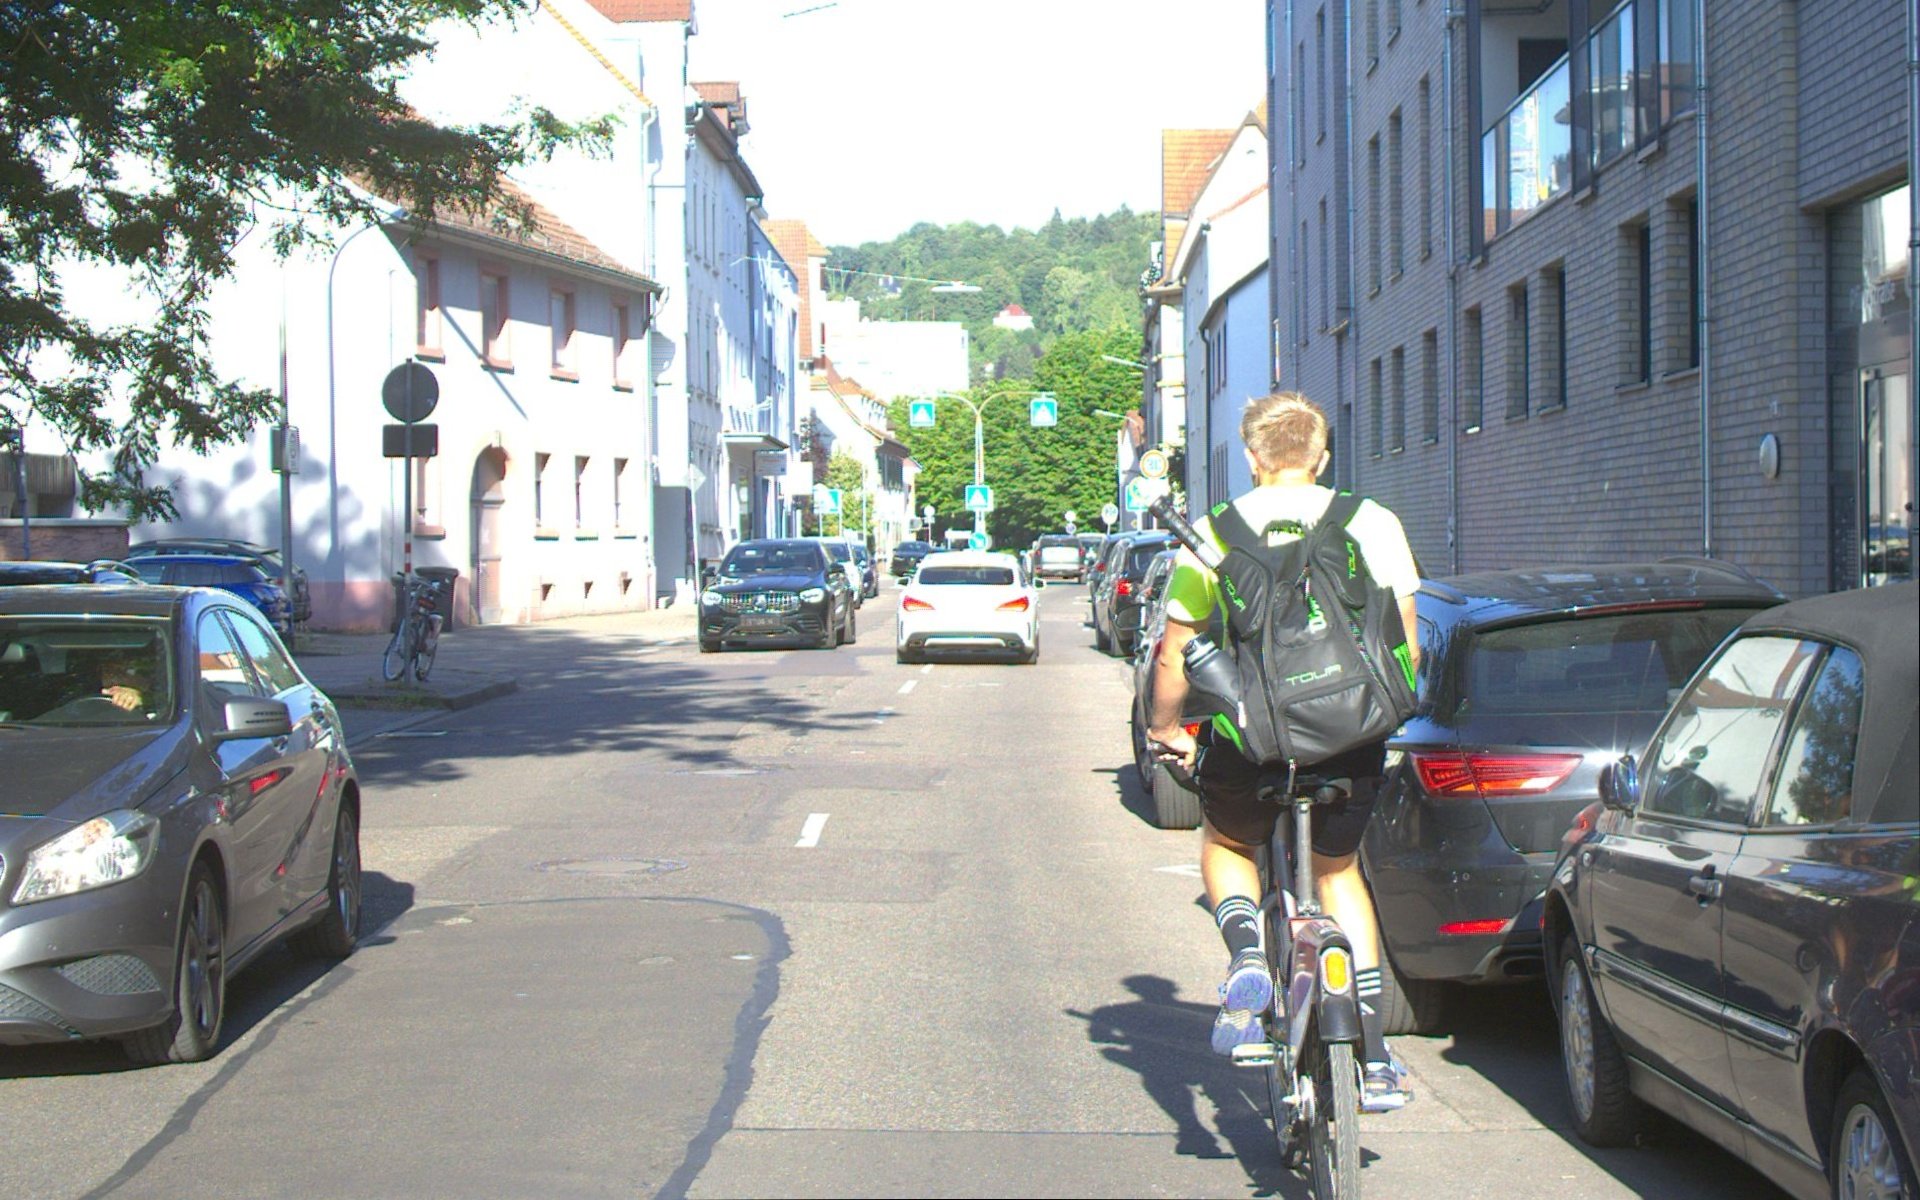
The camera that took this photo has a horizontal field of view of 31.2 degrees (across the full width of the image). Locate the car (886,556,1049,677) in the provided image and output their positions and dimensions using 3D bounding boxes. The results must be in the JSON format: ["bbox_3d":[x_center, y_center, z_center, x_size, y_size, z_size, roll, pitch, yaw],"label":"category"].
[{"bbox_3d":[0.061,0.182,44.417,1.993,1.461,4.000,-1,1,-1],"label":"car"}]

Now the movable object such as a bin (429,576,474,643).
[{"bbox_3d":[-8.357,0.152,56.486,0.598,1.090,0.751,1,1,2],"label":"movable object such as a bin"}]

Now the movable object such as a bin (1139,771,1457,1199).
[{"bbox_3d":[0.712,0.944,7.667,0.454,1.029,1.840,3,-1,-1],"label":"movable object such as a bin"}]

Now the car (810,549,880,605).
[{"bbox_3d":[-3.128,-0.625,94.269,1.731,1.494,3.959,-1,0,0],"label":"car"}]

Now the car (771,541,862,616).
[{"bbox_3d":[-3.206,-0.515,77.689,1.993,1.642,5.222,0,1,-2],"label":"car"}]

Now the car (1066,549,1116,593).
[{"bbox_3d":[5.630,-1.261,148.353,2.011,1.846,4.000,1,1,0],"label":"car"}]

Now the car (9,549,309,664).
[{"bbox_3d":[-11.433,0.077,49.252,3.767,1.525,2.000,-1,1,2],"label":"car"}]

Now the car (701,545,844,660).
[{"bbox_3d":[-2.678,0.010,49.938,1.939,1.570,4.319,-1,1,-2],"label":"car"}]

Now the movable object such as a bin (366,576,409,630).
[{"bbox_3d":[-9.230,0.048,55.401,0.598,0.869,0.606,0,1,-1],"label":"movable object such as a bin"}]

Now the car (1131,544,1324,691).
[{"bbox_3d":[2.844,0.148,37.293,1.712,1.399,4.073,-4,1,1],"label":"car"}]

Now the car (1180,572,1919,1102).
[{"bbox_3d":[1.936,0.662,12.289,1.696,1.462,4.721,-2,1,-3],"label":"car"}]

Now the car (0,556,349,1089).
[{"bbox_3d":[-3.183,0.597,11.425,1.807,1.461,4.001,-1,1,-3],"label":"car"}]

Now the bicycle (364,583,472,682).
[{"bbox_3d":[-5.755,0.334,36.574,0.704,0.999,1.941,1,1,4],"label":"bicycle"}]

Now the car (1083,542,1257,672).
[{"bbox_3d":[2.834,0.047,47.326,1.993,1.647,4.763,0,1,-1],"label":"car"}]

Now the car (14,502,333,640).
[{"bbox_3d":[-12.078,-0.464,52.961,4.363,1.788,1.988,3,3,3],"label":"car"}]

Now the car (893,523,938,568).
[{"bbox_3d":[-1.992,-2.461,154.457,1.993,2.007,4.000,0,1,0],"label":"car"}]

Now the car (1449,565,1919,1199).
[{"bbox_3d":[2.339,0.697,7.654,1.663,1.511,4.219,-2,1,-3],"label":"car"}]

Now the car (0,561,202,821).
[{"bbox_3d":[-6.060,0.509,21.736,1.696,1.486,4.000,-1,1,-1],"label":"car"}]

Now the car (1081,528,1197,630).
[{"bbox_3d":[3.104,-0.401,60.231,1.855,1.630,4.623,-3,1,2],"label":"car"}]

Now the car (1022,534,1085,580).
[{"bbox_3d":[3.052,-1.398,112.719,1.993,1.461,4.000,-1,1,1],"label":"car"}]

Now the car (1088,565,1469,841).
[{"bbox_3d":[1.798,0.534,20.660,1.816,1.461,4.270,-1,1,-1],"label":"car"}]

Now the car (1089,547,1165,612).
[{"bbox_3d":[4.035,-0.509,83.605,1.741,1.487,4.438,-2,1,2],"label":"car"}]

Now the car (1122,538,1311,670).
[{"bbox_3d":[3.088,0.009,42.209,1.993,1.500,4.367,0,1,0],"label":"car"}]

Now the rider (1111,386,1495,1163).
[{"bbox_3d":[0.725,0.360,7.556,0.653,1.556,1.083,3,-1,-1],"label":"rider"}]
